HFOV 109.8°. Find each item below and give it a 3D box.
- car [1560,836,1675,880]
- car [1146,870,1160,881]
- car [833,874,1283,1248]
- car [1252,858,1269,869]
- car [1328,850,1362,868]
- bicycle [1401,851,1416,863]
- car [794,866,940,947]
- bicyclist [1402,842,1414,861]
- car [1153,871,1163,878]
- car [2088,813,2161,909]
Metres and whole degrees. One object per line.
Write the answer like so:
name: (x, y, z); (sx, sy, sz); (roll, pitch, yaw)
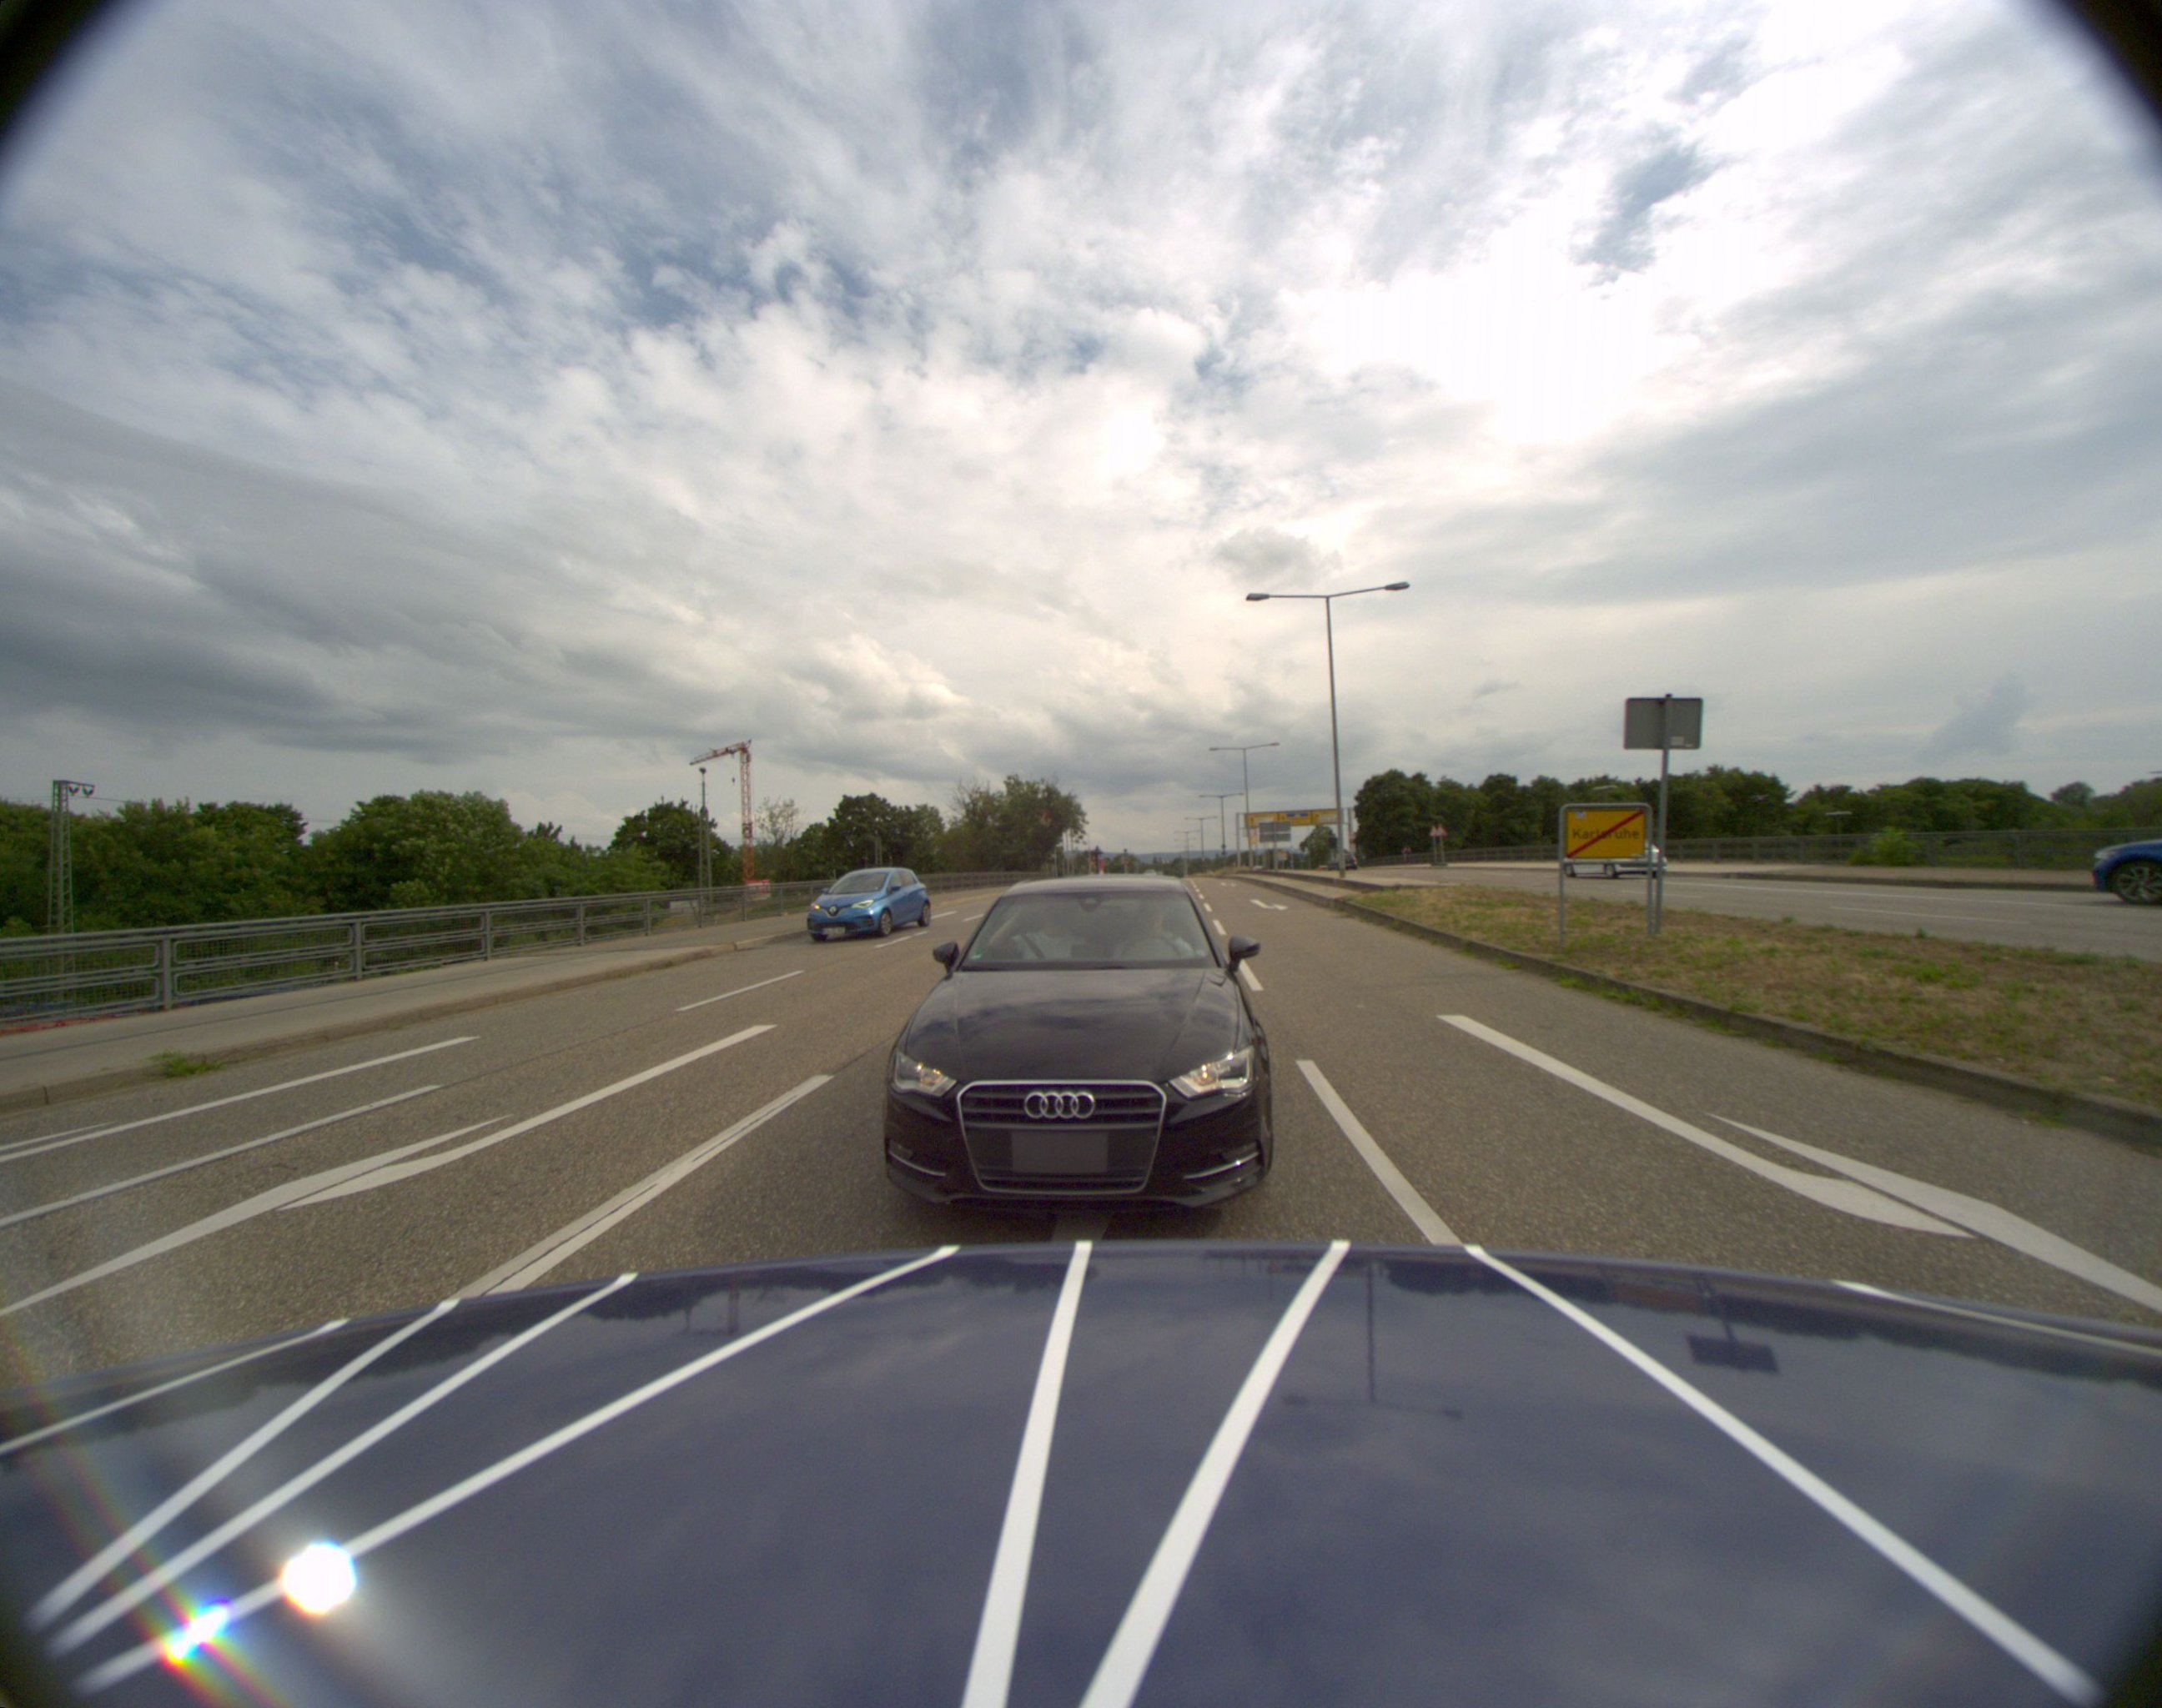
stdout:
car: (19.466, 0.101, 27.766); (1.729, 1.437, 3.877); (-2, 1, 6)
car: (9.971, 2.962, 104.904); (1.860, 1.335, 4.002); (-2, 0, 7)
car: (0.156, 0.933, 5.528); (1.851, 1.355, 4.731); (-2, 0, 7)
car: (26.510, 1.336, 112.216); (1.825, 1.438, 4.354); (-2, 0, 5)
car: (22.668, 0.431, 65.384); (1.796, 1.410, 4.001); (-2, 0, 5)
bicycle: (29.887, 0.255, 69.386); (0.685, 1.047, 1.995); (-3, 0, 7)
car: (-4.917, 1.147, 18.079); (1.724, 1.512, 3.952); (-4, 0, 9)
bicyclist: (29.837, -0.243, 69.339); (0.685, 1.662, 0.848); (-3, 0, 7)
car: (15.889, 4.184, 155.895); (1.860, 1.335, 4.002); (-2, 0, 7)
car: (18.617, 0.079, 11.011); (1.949, 1.551, 4.460); (-2, 0, -8)
